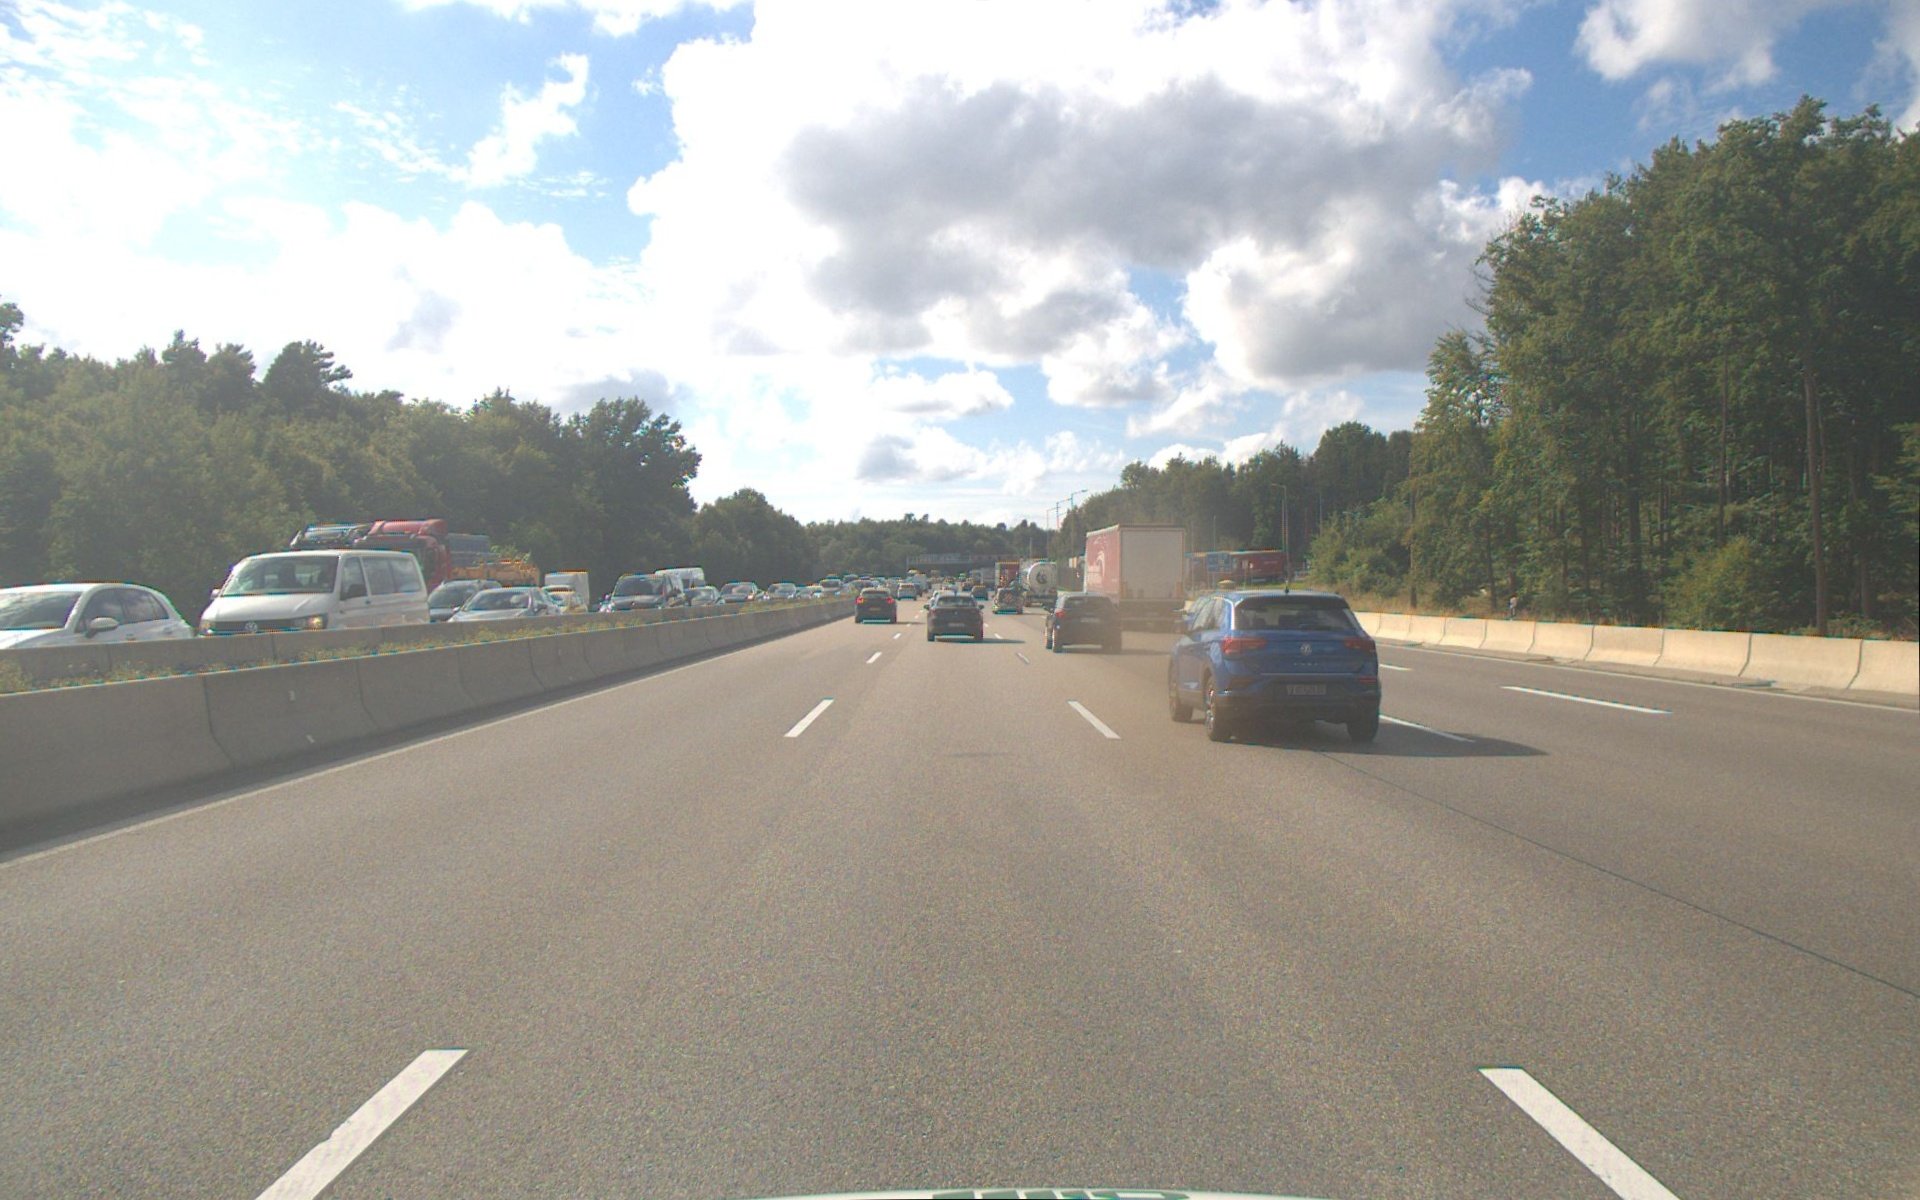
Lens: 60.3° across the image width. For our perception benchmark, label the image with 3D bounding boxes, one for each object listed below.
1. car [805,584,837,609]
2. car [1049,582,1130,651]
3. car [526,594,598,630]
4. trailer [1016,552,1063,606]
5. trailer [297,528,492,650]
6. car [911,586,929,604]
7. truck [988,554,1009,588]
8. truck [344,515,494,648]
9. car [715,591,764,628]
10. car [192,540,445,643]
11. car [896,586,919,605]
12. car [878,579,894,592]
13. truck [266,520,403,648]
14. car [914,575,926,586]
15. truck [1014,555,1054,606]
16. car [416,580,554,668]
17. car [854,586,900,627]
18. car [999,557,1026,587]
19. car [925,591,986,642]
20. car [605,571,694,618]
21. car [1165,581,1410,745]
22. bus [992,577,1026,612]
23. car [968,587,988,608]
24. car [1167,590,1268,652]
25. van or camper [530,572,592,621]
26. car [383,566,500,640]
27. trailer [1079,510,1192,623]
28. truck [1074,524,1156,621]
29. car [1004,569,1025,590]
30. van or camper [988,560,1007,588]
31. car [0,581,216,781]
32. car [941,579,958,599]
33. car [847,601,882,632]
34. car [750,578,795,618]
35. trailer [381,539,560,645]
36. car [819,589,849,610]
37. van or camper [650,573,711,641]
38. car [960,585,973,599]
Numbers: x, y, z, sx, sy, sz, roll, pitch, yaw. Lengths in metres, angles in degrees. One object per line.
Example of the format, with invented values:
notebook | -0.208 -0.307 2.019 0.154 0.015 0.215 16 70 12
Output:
car | -10.171 -0.242 121.468 1.953 1.766 5.090 1 0 -1
car | 3.305 0.409 42.934 1.762 1.673 4.000 1 0 0
car | -13.458 0.383 56.099 1.553 1.146 3.999 1 0 -2
trailer | 6.336 -1.622 133.222 2.974 4.086 12.242 0 0 -1
trailer | -21.534 -0.456 64.219 2.752 4.191 14.041 1 1 0
car | -4.700 -0.608 195.233 1.953 2.049 3.999 1 0 -1
truck | 4.501 -3.415 196.535 2.309 3.635 11.266 1 -1 1
truck | -17.367 -0.575 53.569 2.720 4.007 6.851 1 0 -2
car | -10.229 0.419 77.062 1.799 1.619 4.288 1 0 -2
car | -9.548 -0.067 25.166 1.812 1.378 5.486 1 -1 -1
car | -5.266 -0.428 165.591 2.110 1.807 4.000 1 0 0
car | -10.193 -1.992 228.477 1.952 1.600 5.329 2 1 1
truck | -21.573 -0.548 57.312 2.754 4.222 5.451 1 0 -2
car | -5.647 -2.774 235.561 1.590 1.496 3.814 1 0 0
truck | 6.228 -1.608 139.818 2.983 4.233 7.125 0 0 0
car | -9.472 0.439 33.280 1.688 1.631 3.999 1 0 -2
car | -3.802 0.299 76.333 1.953 1.807 4.000 1 0 0
car | 5.609 -2.987 178.445 2.807 3.044 5.149 1 -1 1
car | -0.174 0.494 51.487 1.699 1.388 3.999 1 2 -2
car | -9.777 -0.192 52.487 1.778 1.372 6.231 1 0 -2
car | 3.506 0.604 18.575 1.884 1.568 4.646 1 0 1
bus | 2.982 -0.330 102.081 1.953 2.049 3.999 1 -1 0
car | 1.880 -0.234 170.303 1.953 2.049 3.999 1 0 -1
car | 6.714 0.537 43.533 1.681 1.537 4.298 -1 0 -4
van or camper | -26.164 -0.234 108.813 2.520 3.131 7.193 0 0 -2
car | -13.545 0.052 43.493 1.710 1.797 4.613 1 0 -2
trailer | 6.977 -1.128 67.882 2.976 4.106 13.887 1 -1 -1
truck | 6.916 -1.134 74.666 3.017 4.135 6.068 1 -1 -1
car | 5.534 -2.073 168.655 1.953 2.049 3.999 1 -1 -1
van or camper | 4.588 -3.175 202.973 2.303 3.199 5.710 1 -1 1
car | -9.600 0.776 17.421 1.652 1.848 4.294 1 -1 -1
car | -1.218 -1.231 187.940 1.953 2.049 3.999 -1 -1 -1
car | -6.435 1.074 111.831 1.952 1.954 4.001 1 1 1
car | -10.134 -0.124 89.528 1.843 2.049 4.519 1 0 1
trailer | -17.547 -0.351 60.600 2.673 3.393 14.216 1 1 -2
car | -10.179 -0.076 133.723 1.952 1.600 4.816 0 1 1
van or camper | -13.854 0.308 82.293 2.095 3.228 6.243 1 0 -2
car | 0.950 -1.276 255.008 1.953 2.049 3.999 1 0 -1
